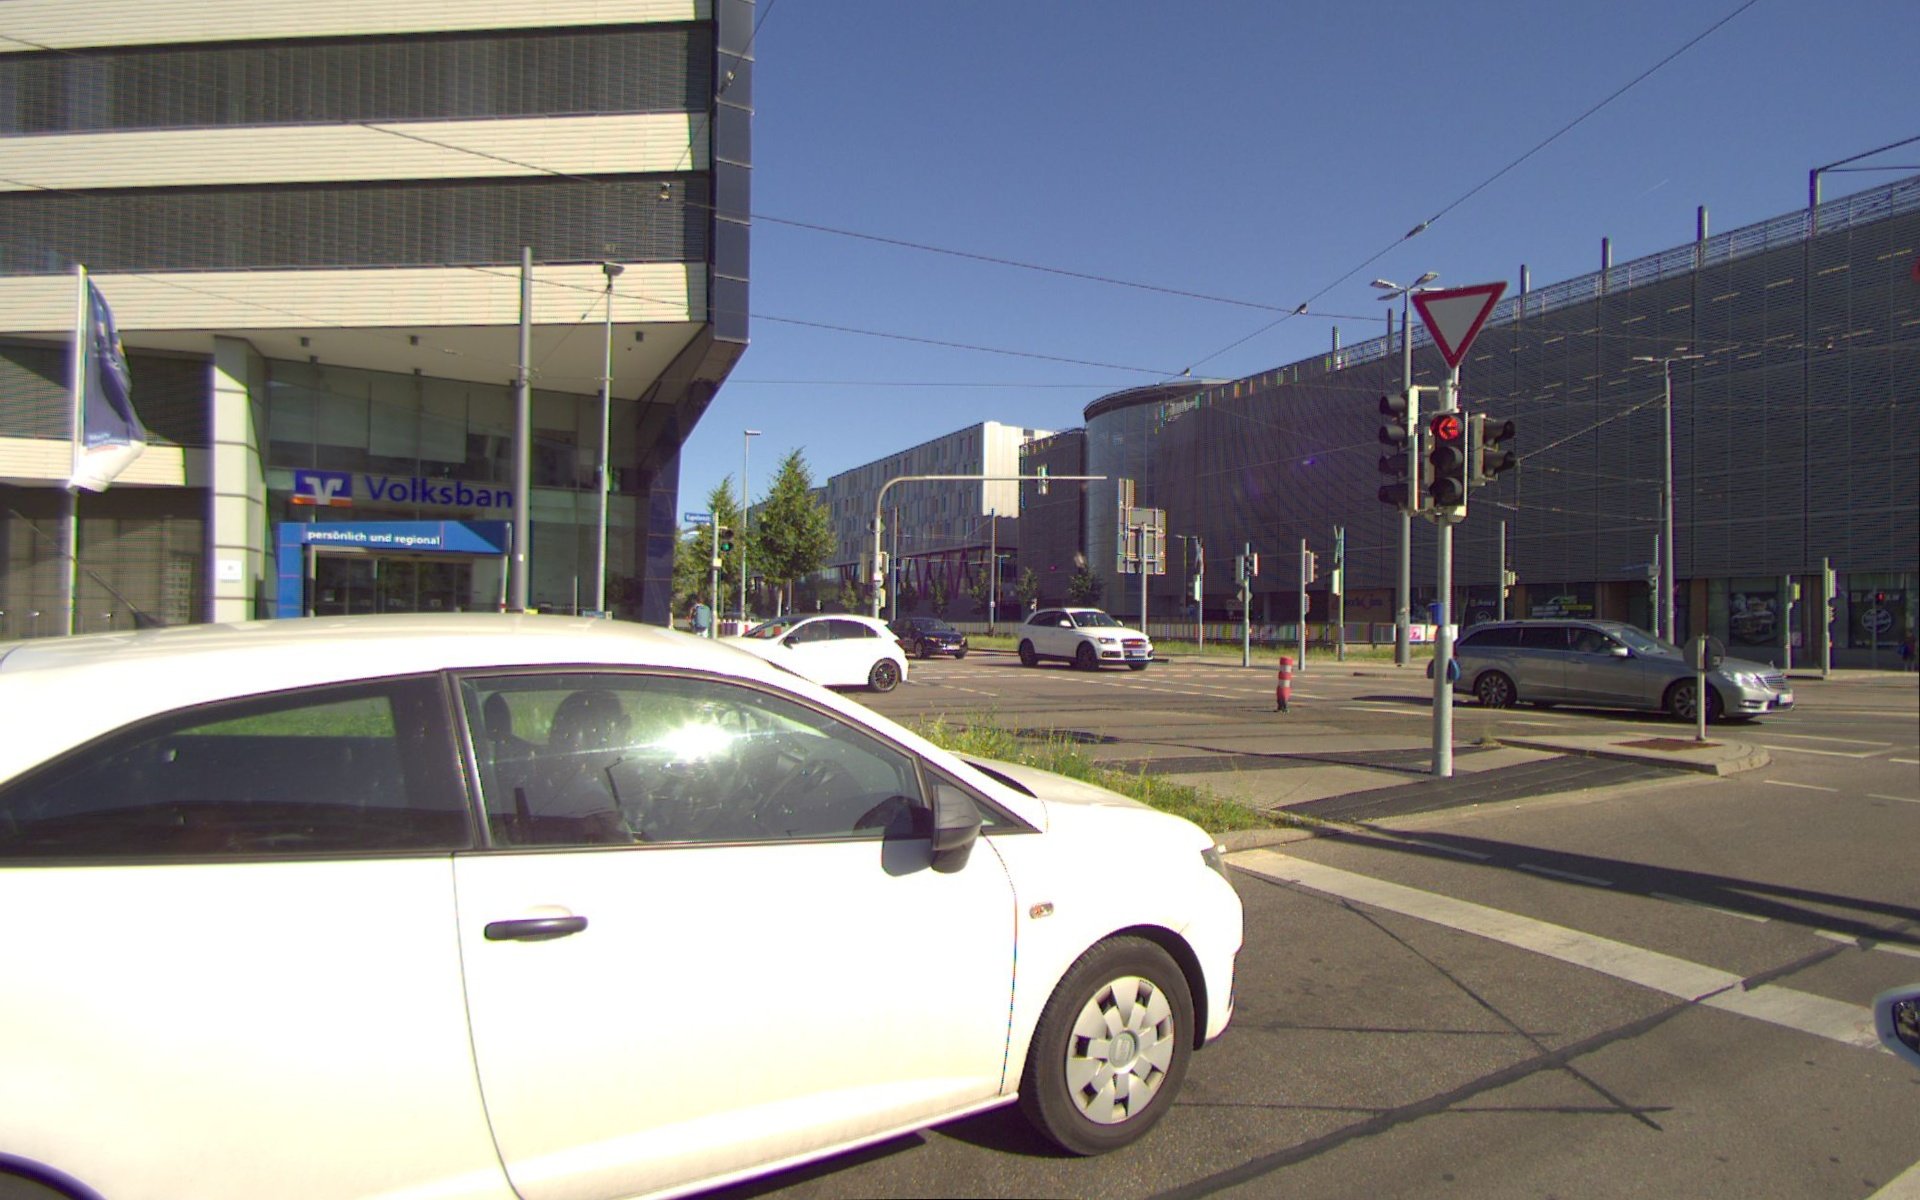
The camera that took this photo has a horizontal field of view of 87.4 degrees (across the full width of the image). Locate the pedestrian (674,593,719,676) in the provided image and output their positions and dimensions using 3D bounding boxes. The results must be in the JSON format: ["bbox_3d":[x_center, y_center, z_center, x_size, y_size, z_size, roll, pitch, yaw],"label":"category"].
[{"bbox_3d":[-5.666,0.726,21.573,0.731,1.719,0.802,1,1,-29],"label":"pedestrian"}]

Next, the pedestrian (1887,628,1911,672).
[{"bbox_3d":[39.969,2.116,42.735,0.687,1.821,0.726,-2,-3,44],"label":"pedestrian"}]

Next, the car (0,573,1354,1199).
[{"bbox_3d":[-0.957,0.740,2.797,3.977,1.460,1.723,2,1,-31],"label":"car"}]

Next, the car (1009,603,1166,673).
[{"bbox_3d":[3.346,1.007,27.350,1.913,1.729,4.650,1,-2,-28],"label":"car"}]

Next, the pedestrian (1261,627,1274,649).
[{"bbox_3d":[23.636,2.916,77.110,0.642,1.622,0.658,2,0,-24],"label":"pedestrian"}]

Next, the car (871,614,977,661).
[{"bbox_3d":[-1.380,1.306,36.306,1.812,1.481,4.645,1,0,-31],"label":"car"}]

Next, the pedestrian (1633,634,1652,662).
[{"bbox_3d":[39.436,2.773,58.036,0.584,1.622,0.661,2,0,-11],"label":"pedestrian"}]

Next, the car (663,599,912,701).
[{"bbox_3d":[-3.096,0.863,18.425,4.142,1.668,1.807,1,-1,-37],"label":"car"}]

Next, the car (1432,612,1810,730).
[{"bbox_3d":[10.291,0.999,16.090,1.688,1.593,4.829,1,-1,-32],"label":"car"}]
